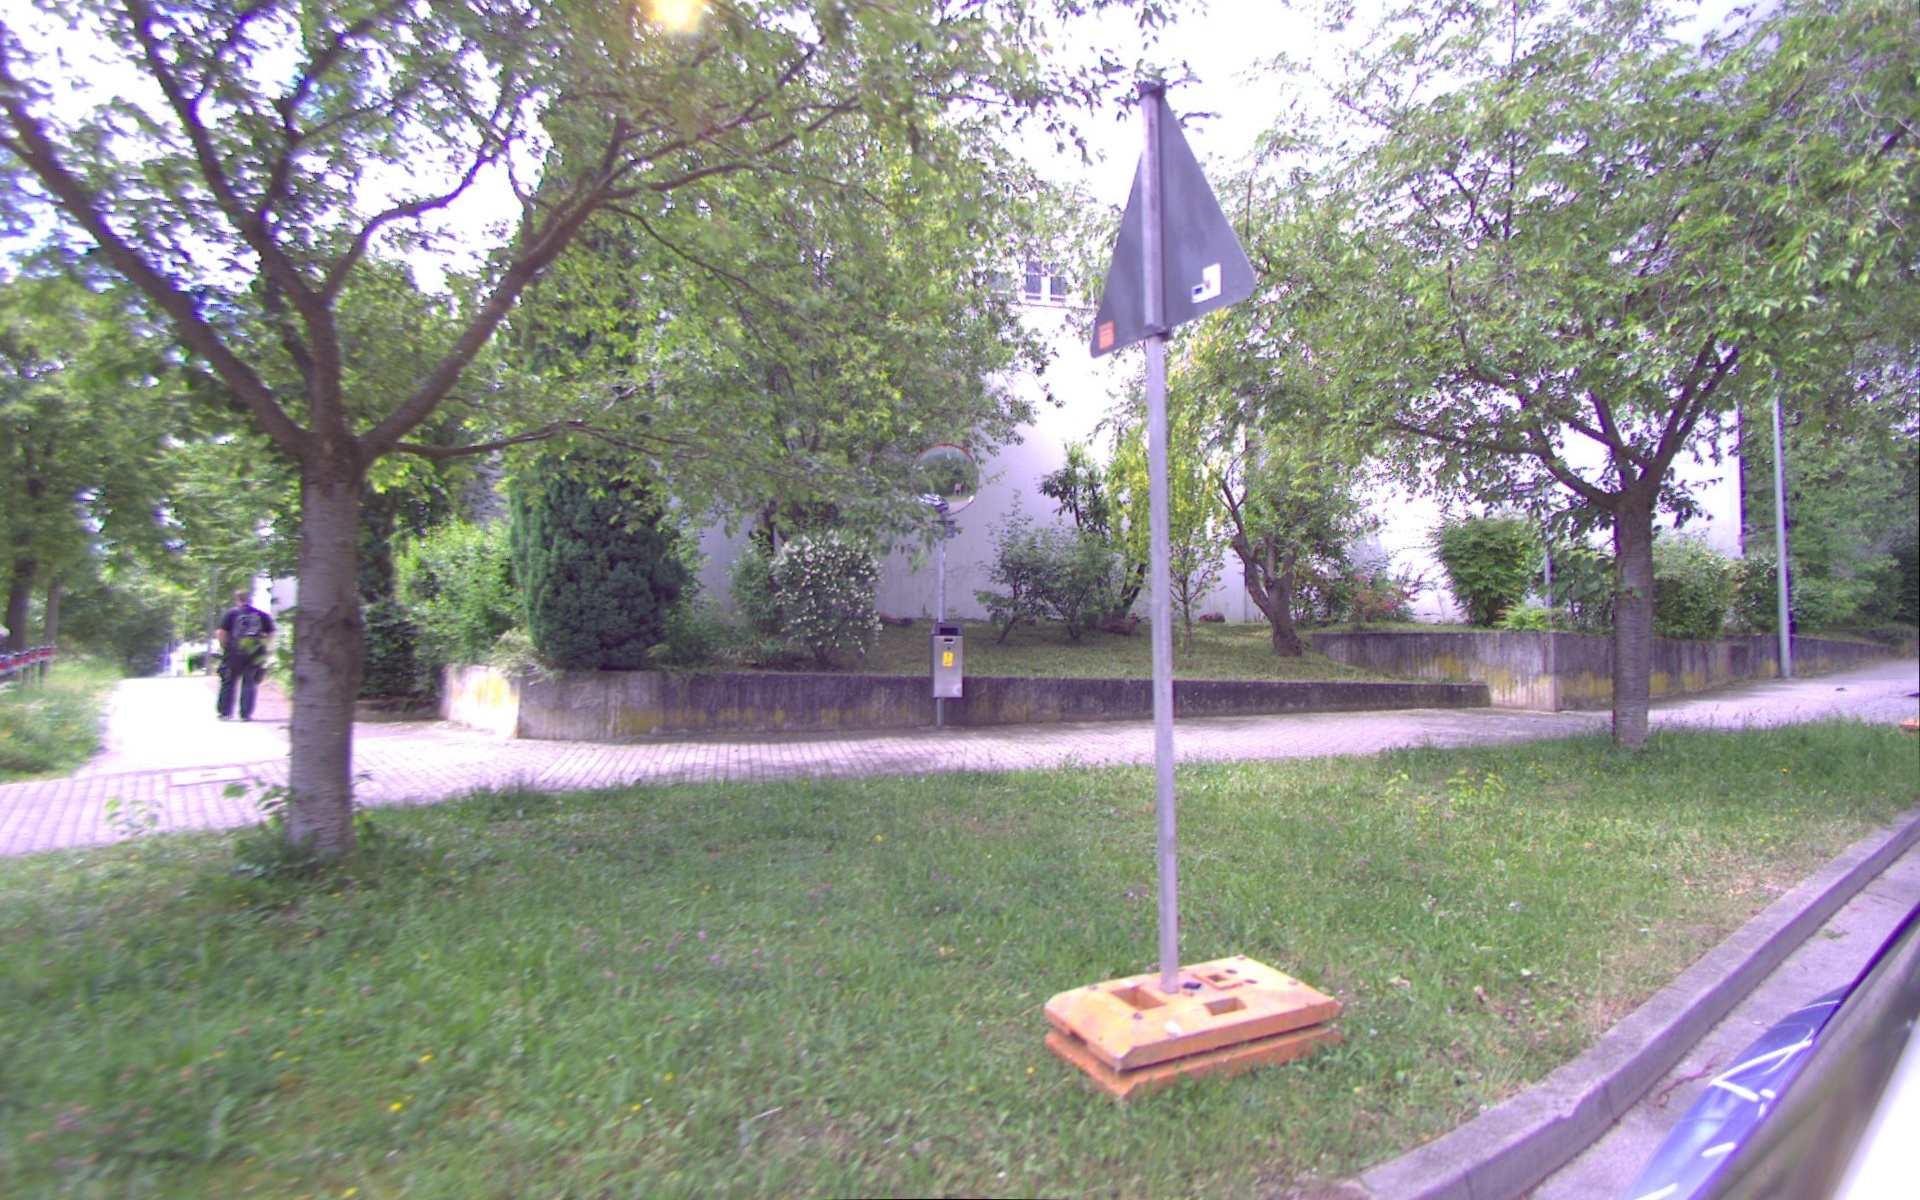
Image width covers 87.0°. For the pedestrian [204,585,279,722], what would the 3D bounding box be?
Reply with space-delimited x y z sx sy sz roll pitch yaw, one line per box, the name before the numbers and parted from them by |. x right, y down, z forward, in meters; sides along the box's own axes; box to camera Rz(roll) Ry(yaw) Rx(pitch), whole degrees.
pedestrian | -9.670 0.696 13.622 0.771 1.759 0.834 -1 0 -38

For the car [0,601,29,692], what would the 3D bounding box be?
car | -19.769 0.906 19.982 1.697 1.683 3.996 -1 0 -38

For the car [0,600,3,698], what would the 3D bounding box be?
car | -16.134 0.842 15.526 1.697 1.683 3.996 -1 0 -38
